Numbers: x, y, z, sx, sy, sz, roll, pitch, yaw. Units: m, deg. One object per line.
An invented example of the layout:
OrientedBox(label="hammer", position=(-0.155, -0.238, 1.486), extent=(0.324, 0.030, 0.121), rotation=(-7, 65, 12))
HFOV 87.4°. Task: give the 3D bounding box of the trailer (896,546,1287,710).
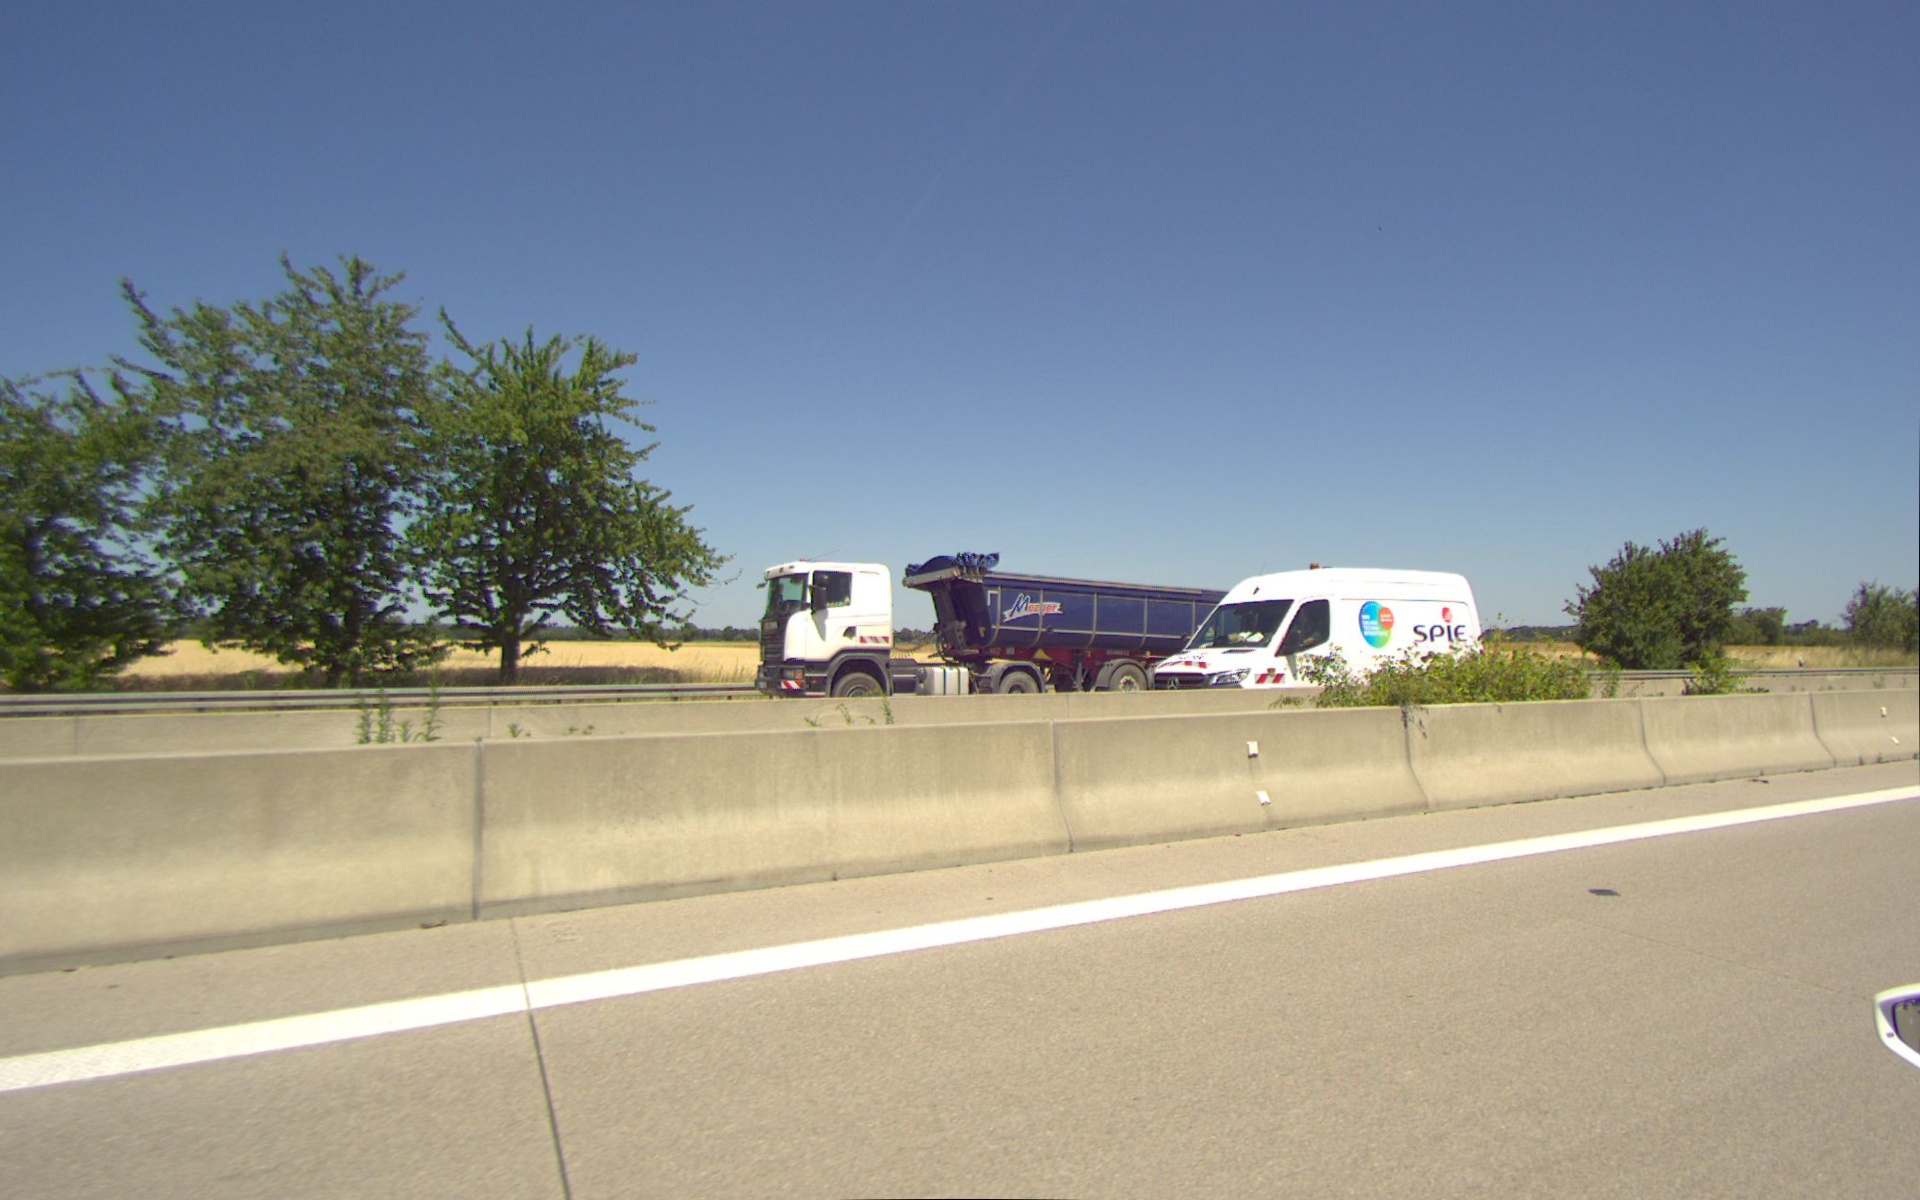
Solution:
OrientedBox(label="trailer", position=(3.325, 0.679, 23.930), extent=(9.345, 3.348, 2.816), rotation=(2, 0, -28))

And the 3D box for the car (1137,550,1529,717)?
OrientedBox(label="car", position=(5.961, 0.514, 15.787), extent=(6.246, 2.217, 2.201), rotation=(1, -1, -28))

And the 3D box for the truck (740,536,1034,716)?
OrientedBox(label="truck", position=(-1.530, 0.549, 21.314), extent=(5.544, 3.348, 2.795), rotation=(1, 0, -28))
